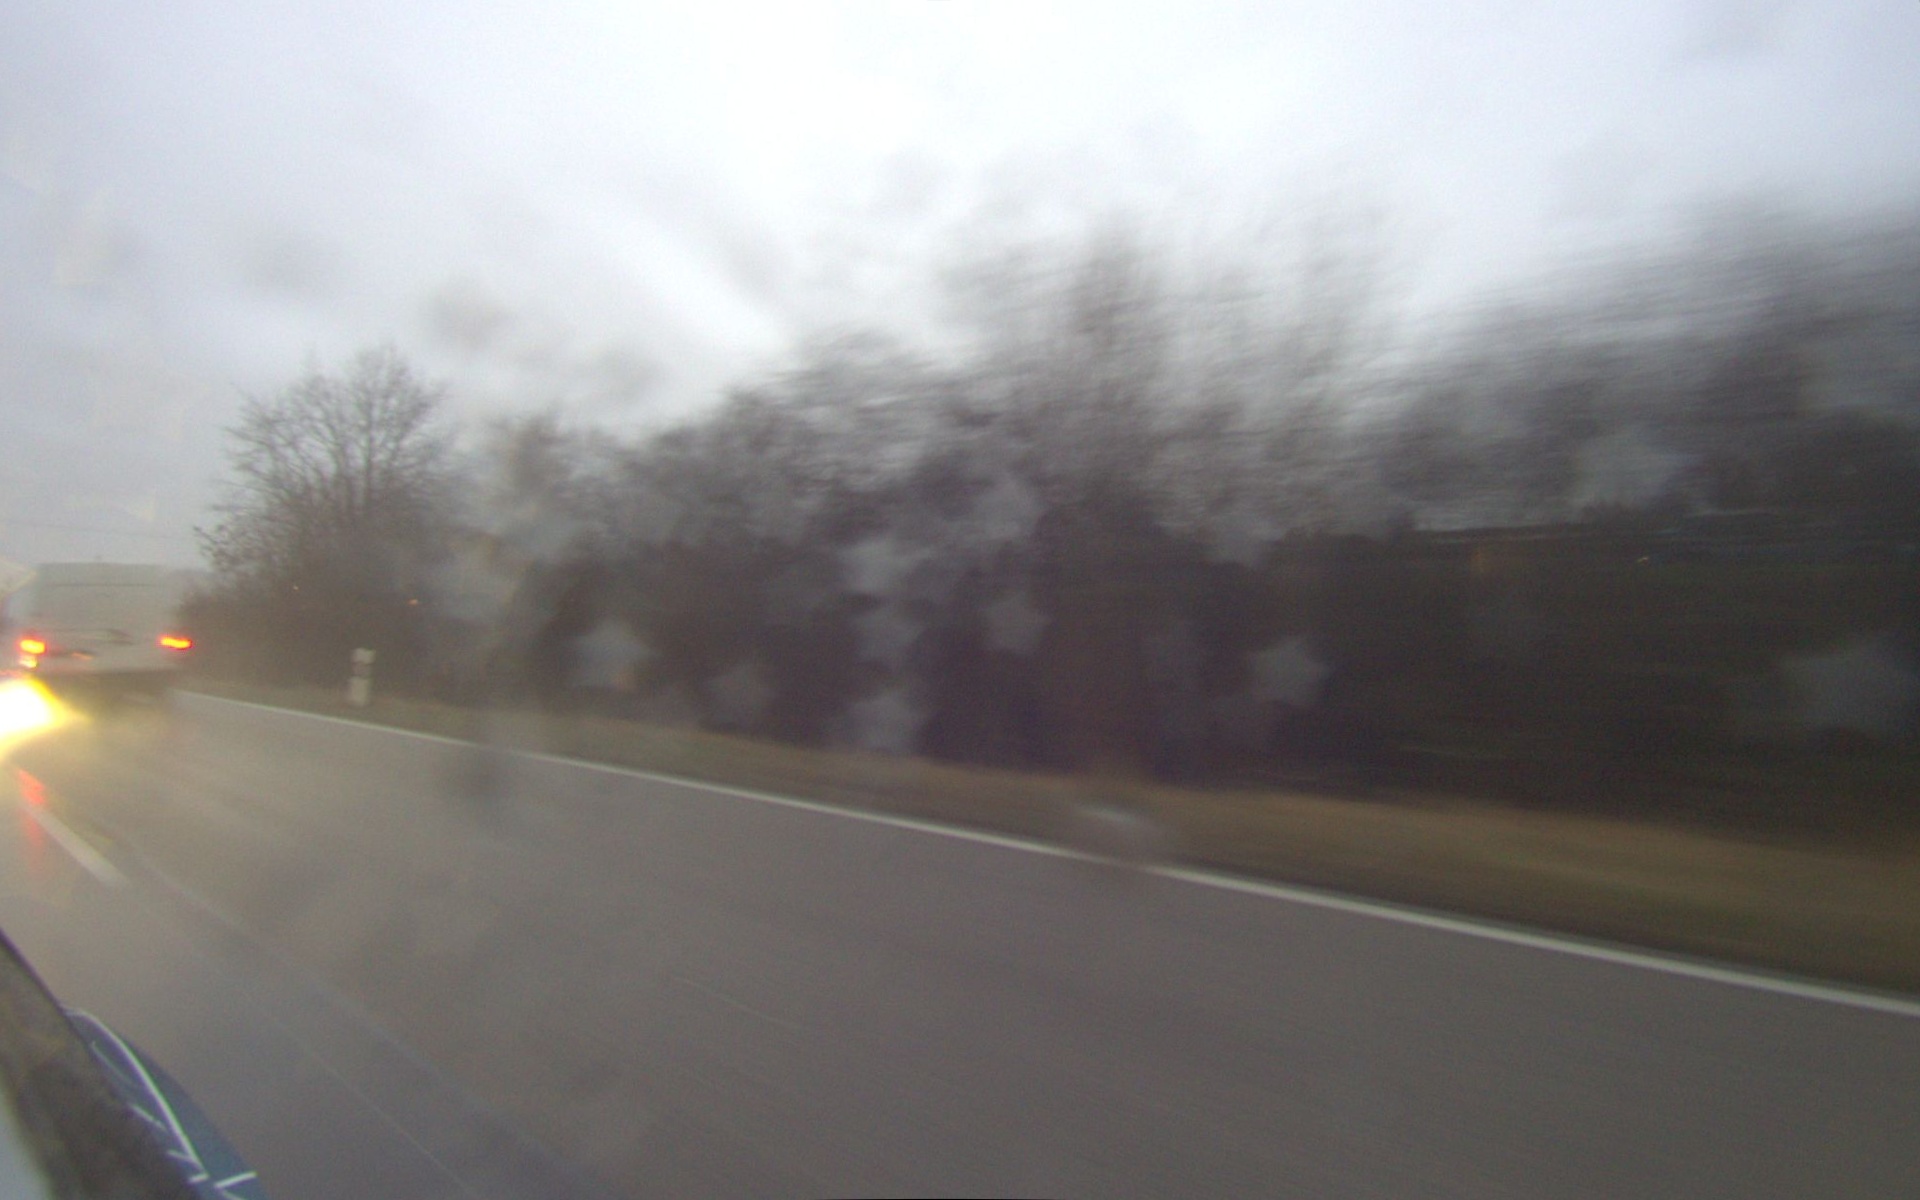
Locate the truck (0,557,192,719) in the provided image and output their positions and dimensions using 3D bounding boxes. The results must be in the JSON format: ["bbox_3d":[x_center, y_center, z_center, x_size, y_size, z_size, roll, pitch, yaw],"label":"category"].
[{"bbox_3d":[-15.829,0.617,18.169,5.371,2.486,2.215,-1,-1,41],"label":"truck"}]
